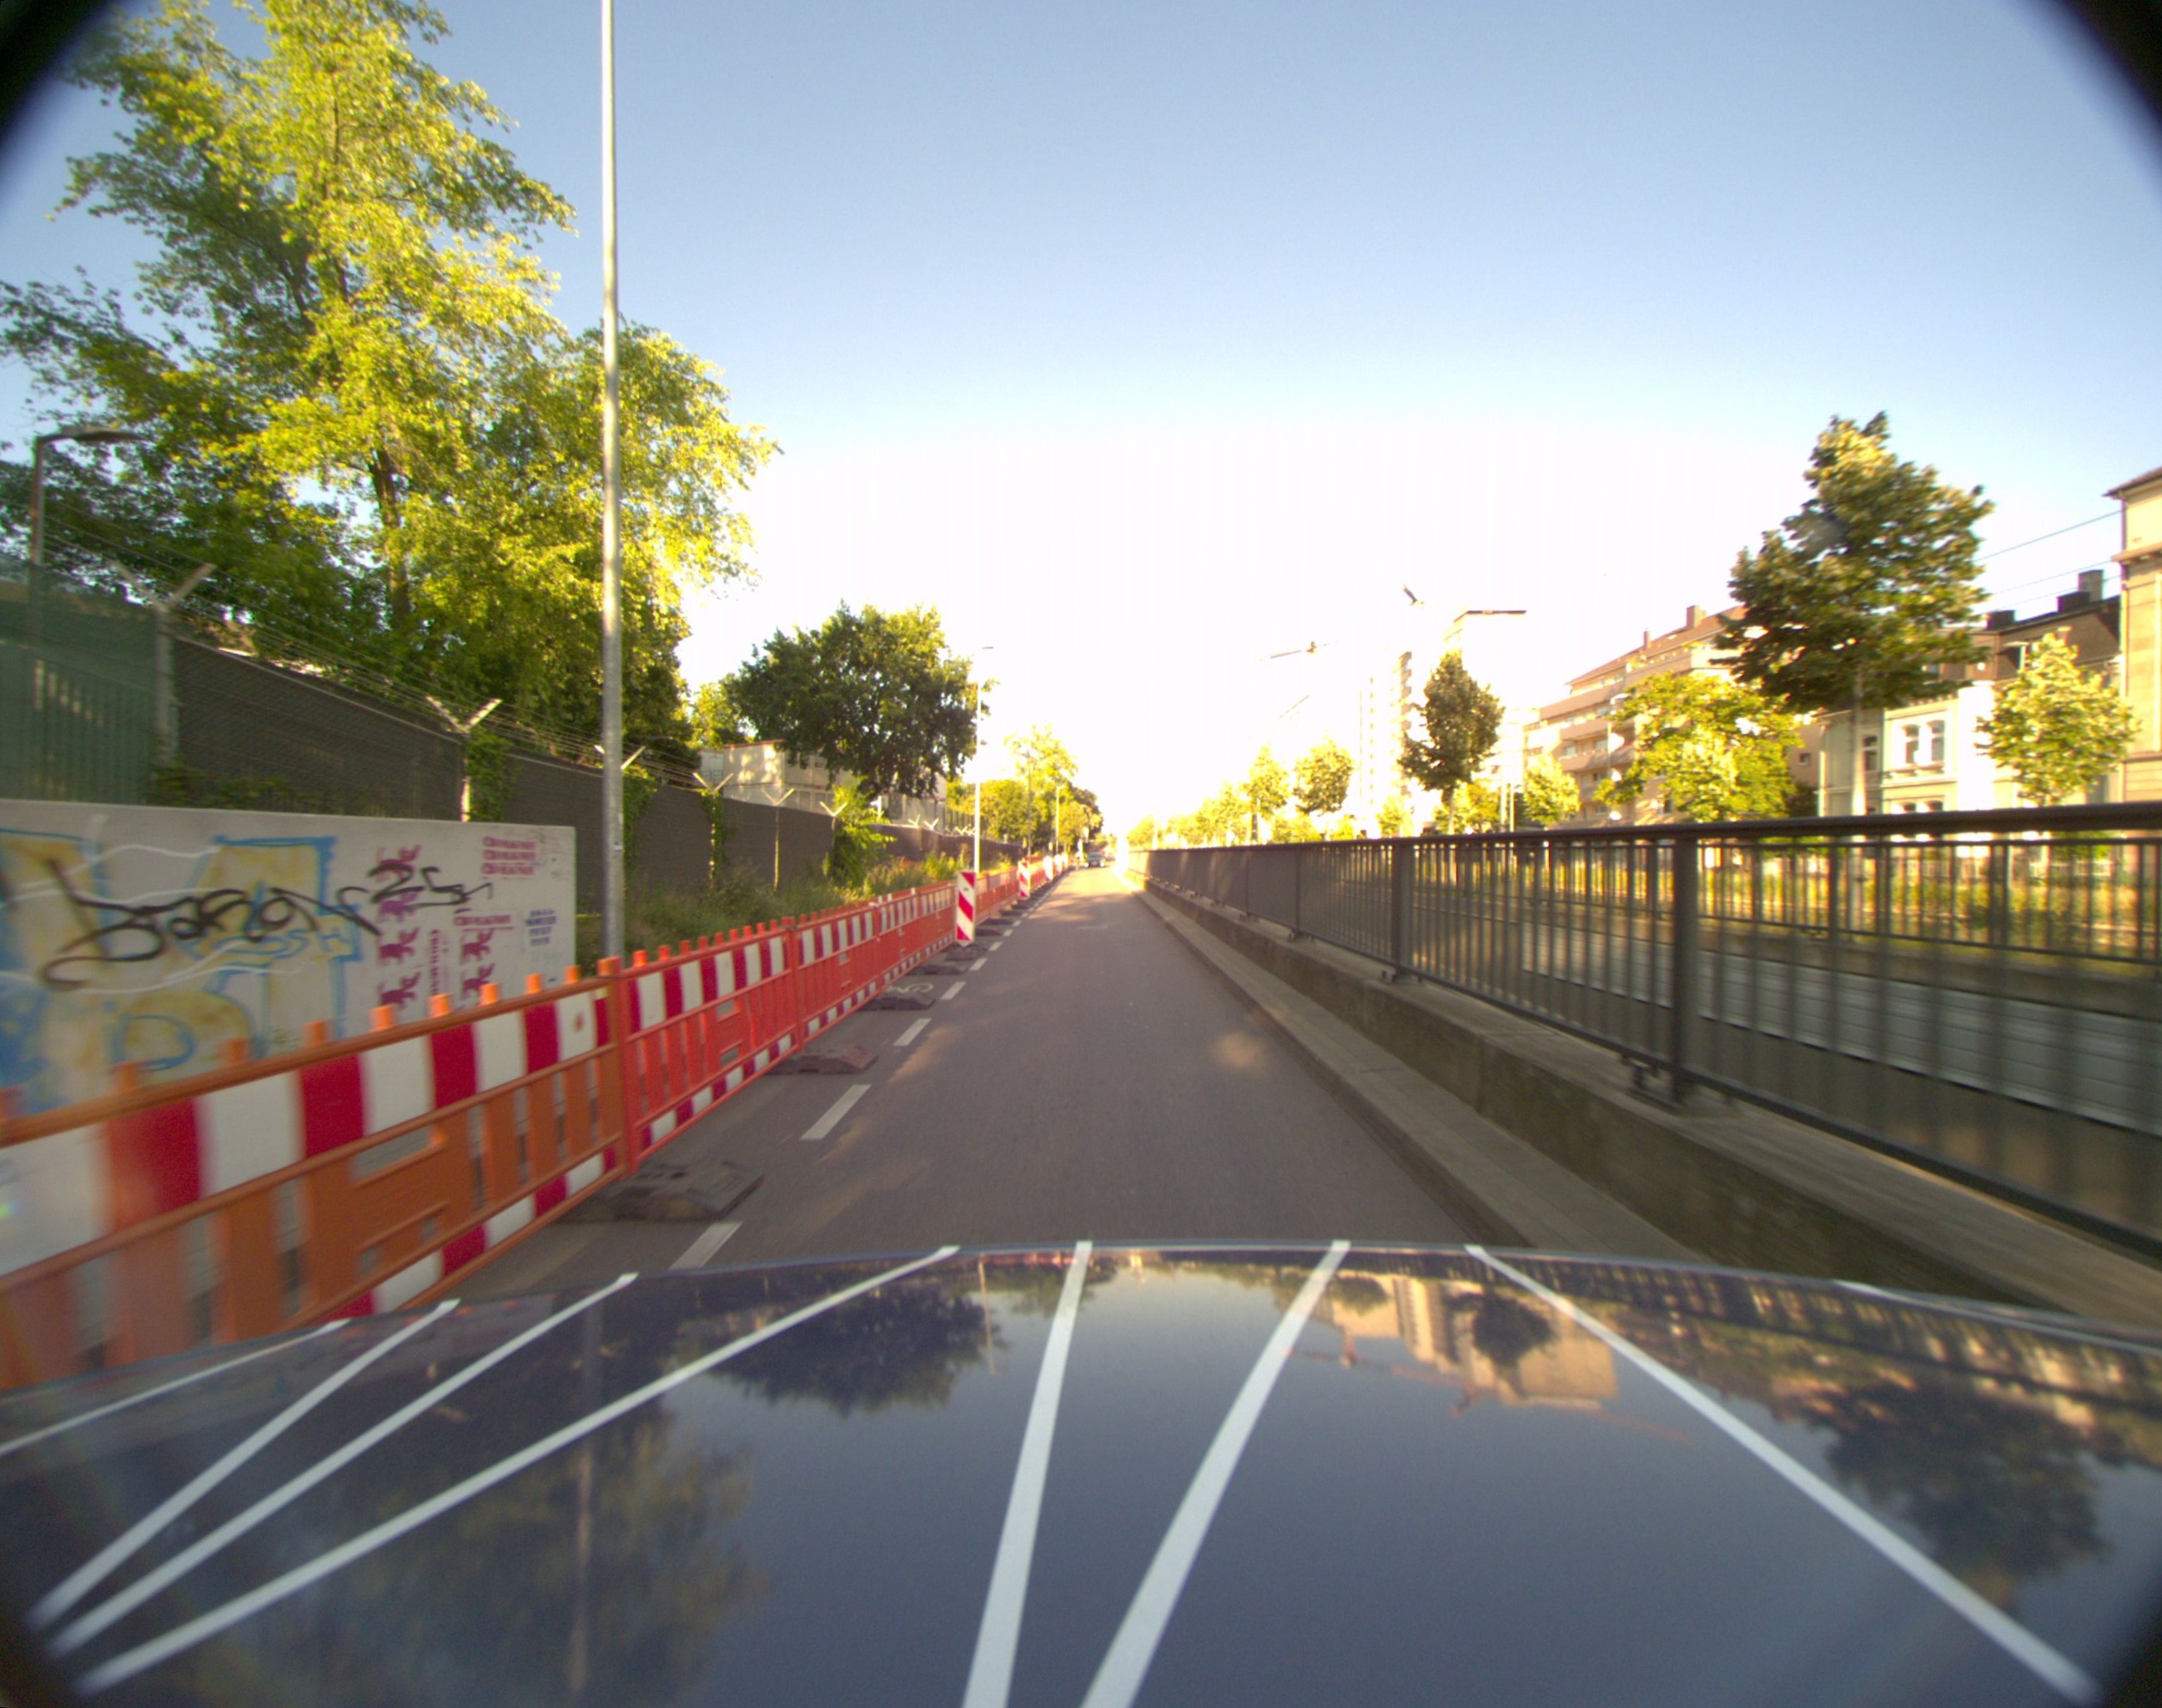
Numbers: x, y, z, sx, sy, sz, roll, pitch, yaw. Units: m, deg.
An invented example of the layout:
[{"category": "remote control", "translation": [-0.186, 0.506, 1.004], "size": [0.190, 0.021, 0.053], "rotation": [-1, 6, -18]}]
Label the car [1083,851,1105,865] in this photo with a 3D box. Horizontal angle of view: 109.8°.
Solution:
[{"category": "car", "translation": [1.290, 0.383, 74.367], "size": [1.998, 1.346, 4.000], "rotation": [0, 1, 3]}]

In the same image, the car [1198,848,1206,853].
[{"category": "car", "translation": [36.934, -0.996, 232.358], "size": [1.780, 1.455, 4.662], "rotation": [0, 1, 1]}]

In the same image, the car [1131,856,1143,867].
[{"category": "car", "translation": [7.553, 0.975, 102.924], "size": [1.591, 1.449, 4.000], "rotation": [0, 0, 3]}]

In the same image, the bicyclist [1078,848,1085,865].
[{"category": "bicyclist", "translation": [0.041, 0.180, 62.456], "size": [0.516, 1.399, 0.805], "rotation": [0, 1, 1]}]

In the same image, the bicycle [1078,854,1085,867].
[{"category": "bicycle", "translation": [0.049, 0.502, 62.444], "size": [0.505, 1.018, 1.505], "rotation": [0, 1, 2]}]

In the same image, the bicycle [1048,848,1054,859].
[{"category": "bicycle", "translation": [-2.883, -0.035, 72.908], "size": [0.428, 1.055, 1.911], "rotation": [0, 1, 2]}]

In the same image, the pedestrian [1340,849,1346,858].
[{"category": "pedestrian", "translation": [44.635, -0.086, 129.500], "size": [0.776, 1.630, 0.882], "rotation": [0, 1, 1]}]

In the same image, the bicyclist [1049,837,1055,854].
[{"category": "bicyclist", "translation": [-2.795, -0.817, 73.027], "size": [0.585, 1.605, 0.903], "rotation": [0, 1, 2]}]
